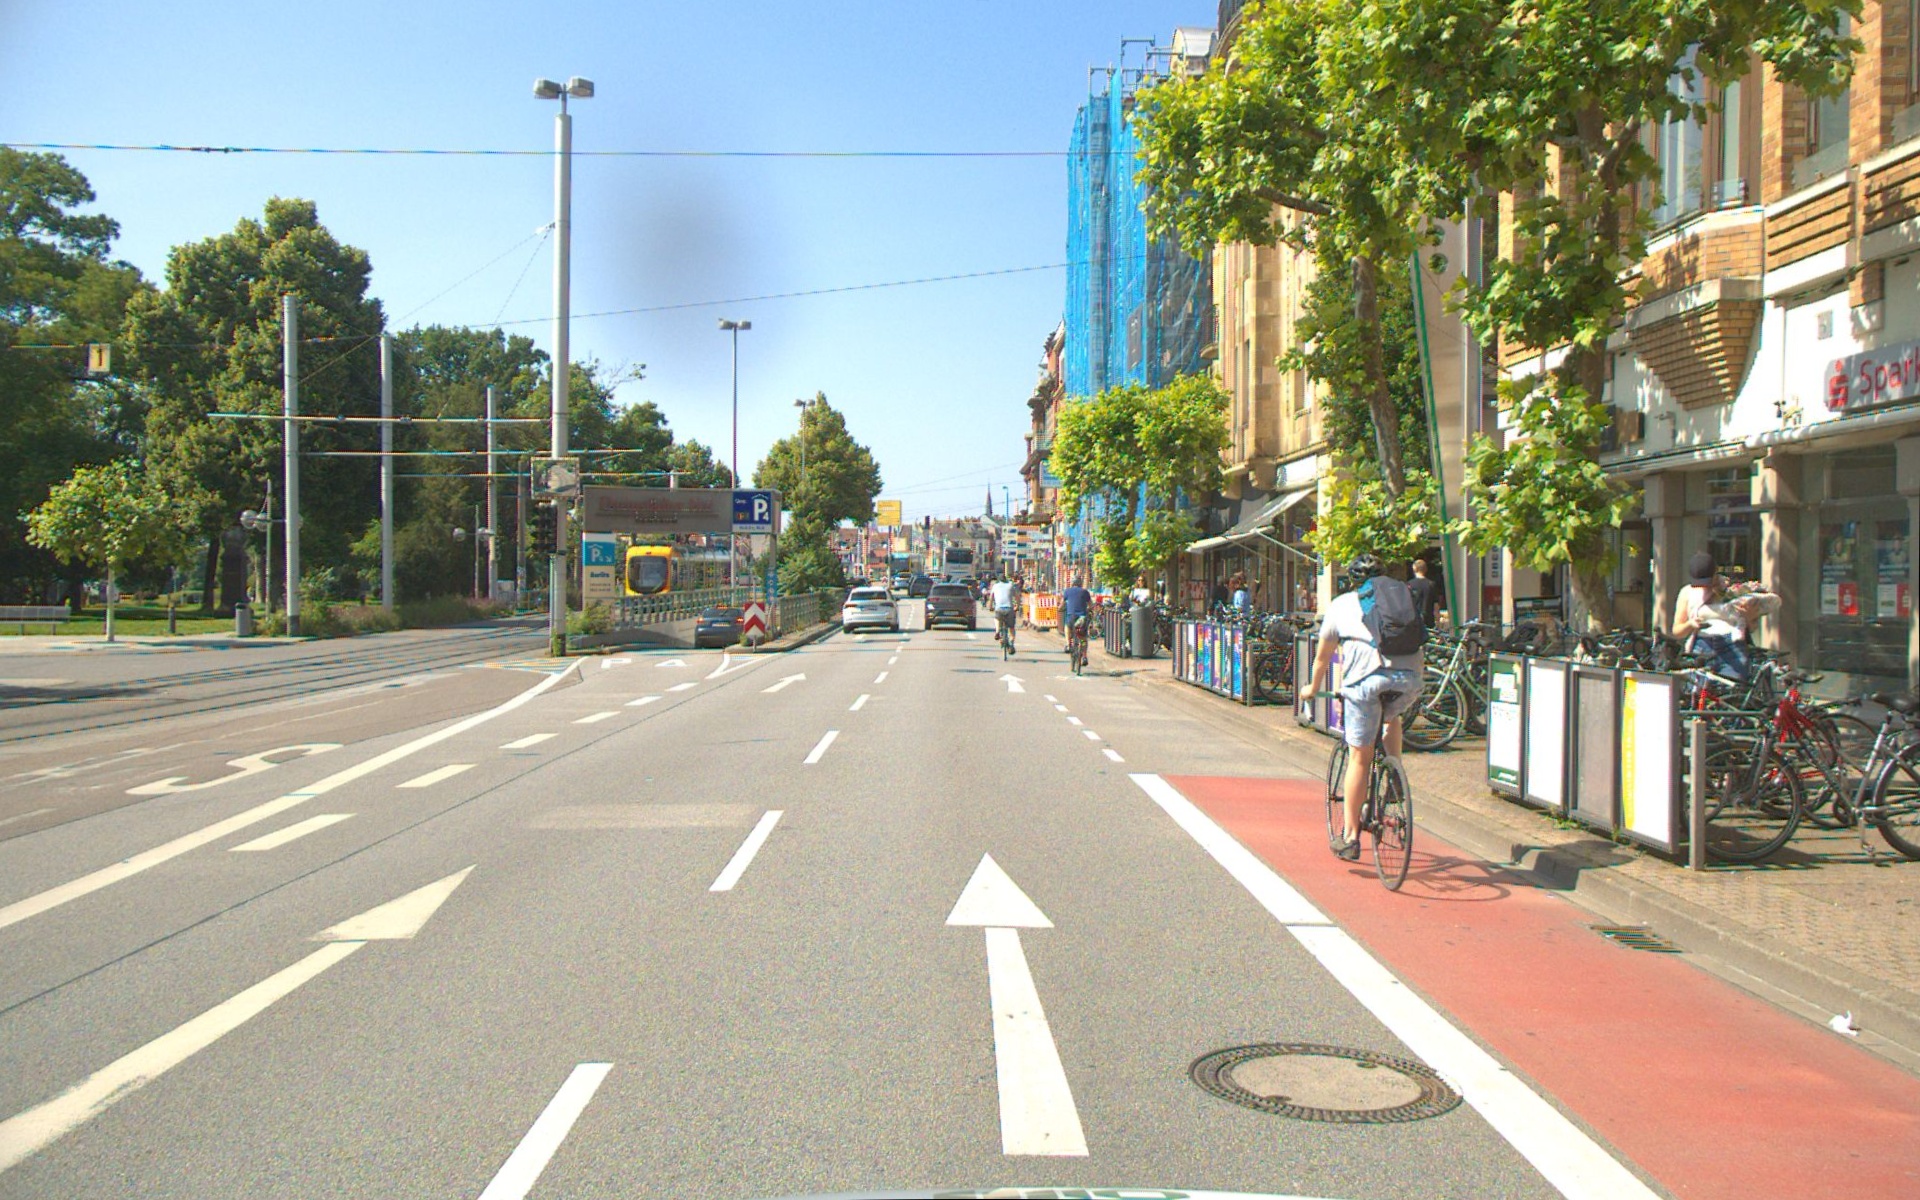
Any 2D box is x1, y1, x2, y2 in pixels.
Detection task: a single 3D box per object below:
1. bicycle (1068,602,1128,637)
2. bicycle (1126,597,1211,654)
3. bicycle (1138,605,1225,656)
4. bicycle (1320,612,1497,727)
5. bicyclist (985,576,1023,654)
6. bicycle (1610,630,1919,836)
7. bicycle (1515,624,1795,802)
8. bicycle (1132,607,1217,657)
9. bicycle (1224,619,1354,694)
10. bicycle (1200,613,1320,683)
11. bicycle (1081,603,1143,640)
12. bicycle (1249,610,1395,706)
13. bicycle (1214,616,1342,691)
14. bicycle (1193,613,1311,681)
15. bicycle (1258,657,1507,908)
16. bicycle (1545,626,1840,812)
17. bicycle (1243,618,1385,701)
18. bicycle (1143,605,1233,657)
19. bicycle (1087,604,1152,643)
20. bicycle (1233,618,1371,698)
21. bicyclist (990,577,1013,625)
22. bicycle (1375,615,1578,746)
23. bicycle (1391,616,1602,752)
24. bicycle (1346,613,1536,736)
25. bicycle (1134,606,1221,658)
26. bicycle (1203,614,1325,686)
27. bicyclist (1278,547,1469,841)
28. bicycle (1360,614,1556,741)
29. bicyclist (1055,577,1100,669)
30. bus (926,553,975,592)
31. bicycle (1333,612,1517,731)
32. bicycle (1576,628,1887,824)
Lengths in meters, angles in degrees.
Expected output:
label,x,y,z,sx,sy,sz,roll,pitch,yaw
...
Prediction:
label,x,y,z,sx,sy,sz,roll,pitch,yaw
bicycle,4.105,0.572,49.317,1.718,1.036,0.482,0,0,-3
bicycle,4.481,0.542,35.598,1.718,1.202,0.579,0,0,-3
bicycle,4.537,0.623,33.910,1.718,1.036,0.482,0,0,-3
bicycle,4.658,0.715,17.209,1.718,1.167,0.482,0,0,-3
bicyclist,0.924,0.312,34.815,0.674,1.604,1.049,2,0,-3
bicycle,4.775,0.771,9.738,1.718,1.167,0.482,0,0,-3
bicycle,4.715,0.758,11.257,1.718,1.167,0.482,0,0,-3
bicycle,4.533,0.671,35.037,1.718,1.036,0.557,0,0,-3
bicycle,4.518,0.779,22.768,1.683,1.002,0.482,0,0,-3
bicycle,4.532,0.727,25.037,1.718,1.036,0.482,0,0,-3
bicycle,4.348,0.607,47.372,1.718,1.036,0.482,0,0,-3
bicycle,4.515,0.717,20.680,1.718,1.167,0.482,0,0,-3
bicycle,4.493,0.751,23.399,1.718,1.036,0.482,0,0,-3
bicycle,4.510,0.722,25.581,1.718,1.036,0.482,0,0,-3
bicycle,2.246,0.924,9.103,0.719,1.112,2.130,2,0,-2
bicycle,4.742,0.763,10.746,1.718,1.167,0.482,0,0,-3
bicycle,4.541,0.758,21.261,1.718,1.036,0.482,0,0,-3
bicycle,4.595,0.627,33.366,1.718,1.036,0.482,0,0,-3
bicycle,4.388,0.646,45.448,1.718,1.036,0.482,0,0,-3
bicycle,4.522,0.763,21.911,1.718,1.036,0.482,0,0,-3
bicyclist,1.438,0.022,57.191,0.674,1.604,1.049,2,0,-3
bicycle,4.734,0.732,15.204,1.718,1.167,0.482,0,0,-3
bicycle,4.748,0.735,14.672,1.718,1.167,0.482,0,0,-3
bicycle,4.706,0.723,16.213,1.718,1.167,0.482,0,0,-3
bicycle,4.520,0.662,34.488,1.718,1.036,0.587,0,0,-3
bicycle,4.500,0.738,24.500,1.718,1.036,0.482,0,0,-3
bicyclist,2.236,0.478,9.064,0.674,1.488,1.142,2,0,-3
bicycle,4.721,0.727,15.711,1.718,1.167,0.482,0,0,-3
bicyclist,2.155,0.408,30.396,0.674,1.644,0.918,2,0,-2
bus,-0.777,-2.102,128.313,2.912,2.825,8.631,2,0,-6
bicycle,4.688,0.719,16.719,1.718,1.167,0.482,0,0,-3
bicycle,4.759,0.769,10.244,1.718,1.167,0.482,0,0,-3
